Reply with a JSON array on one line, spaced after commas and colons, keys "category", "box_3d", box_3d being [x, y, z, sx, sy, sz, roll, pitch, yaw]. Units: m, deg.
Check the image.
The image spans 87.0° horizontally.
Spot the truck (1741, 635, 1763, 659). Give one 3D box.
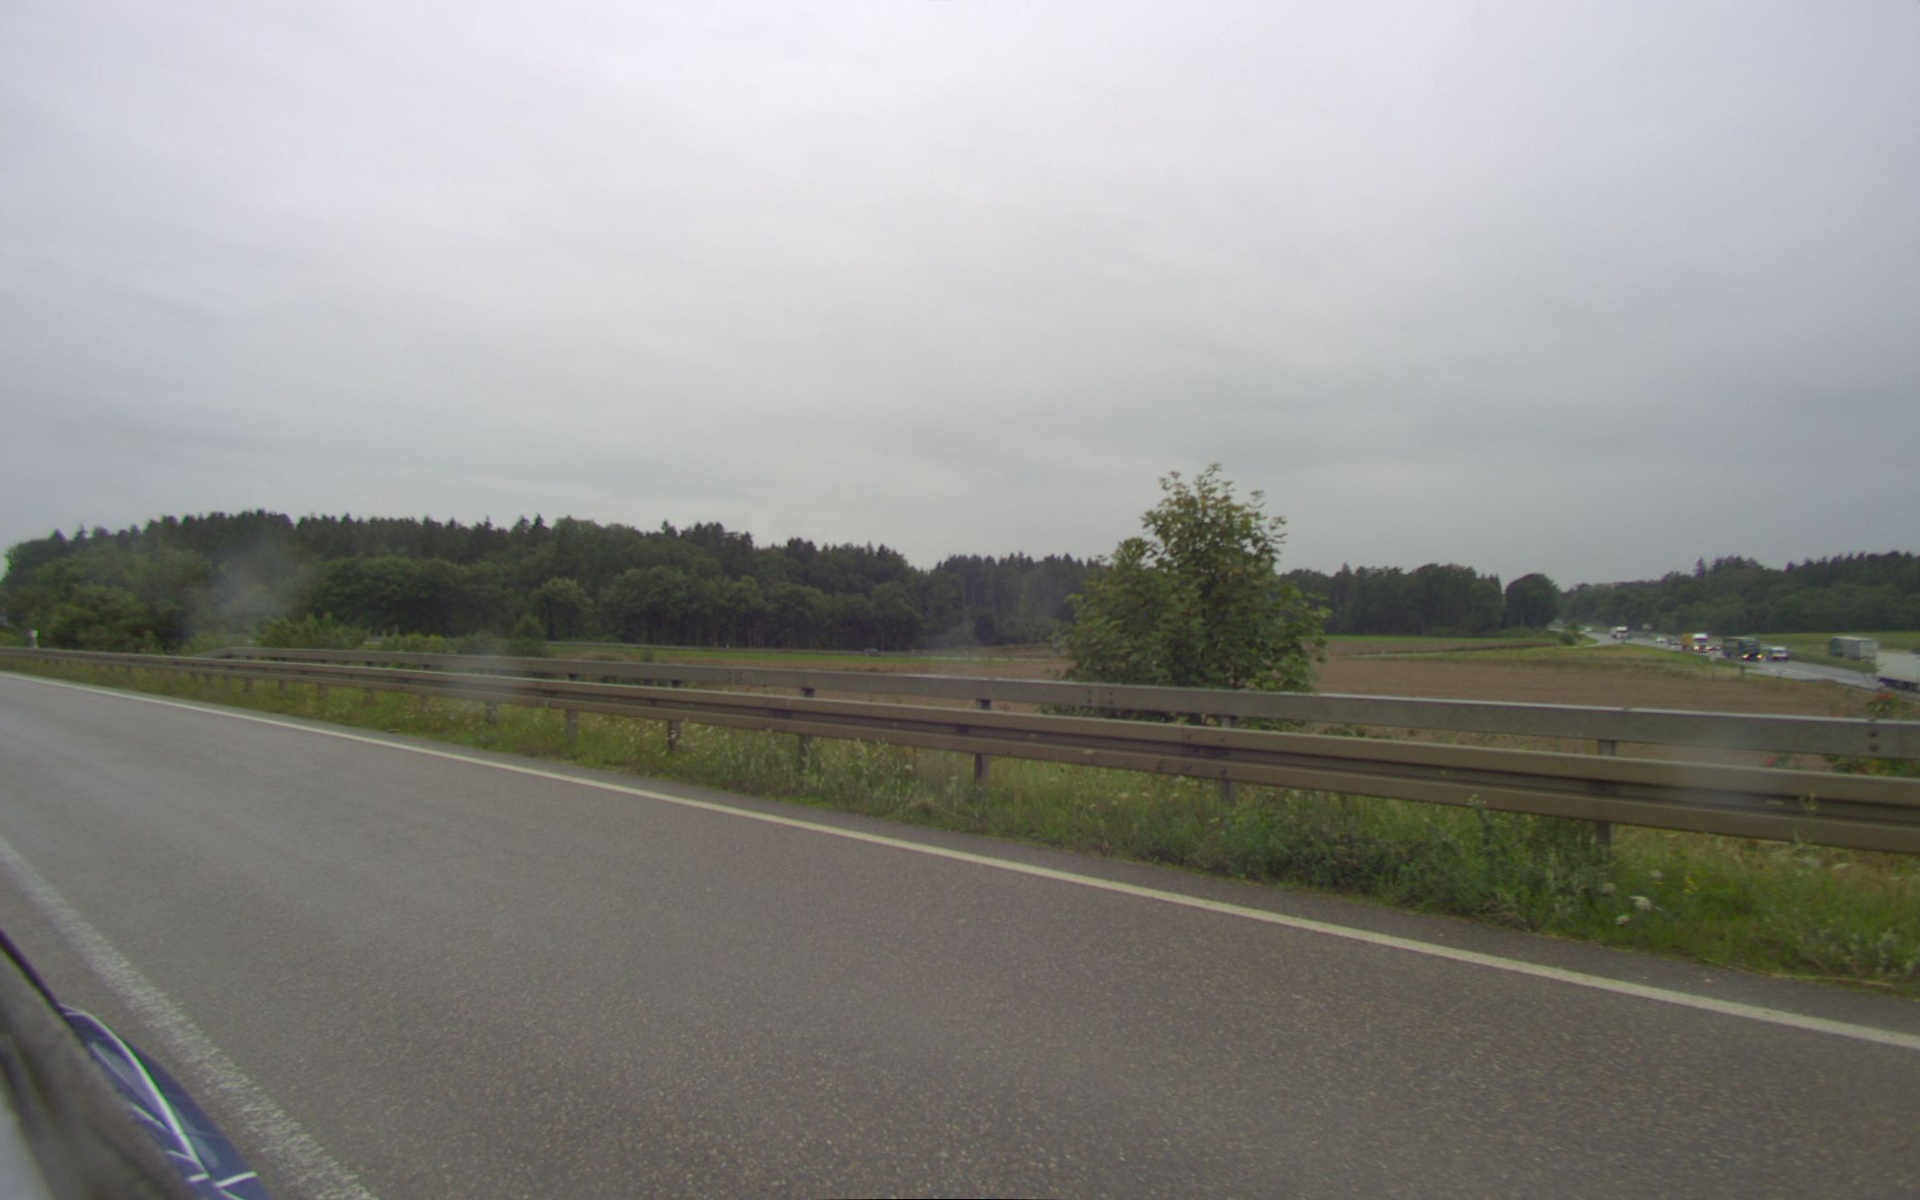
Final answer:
[{"category": "truck", "box_3d": [145.547, 8.608, 185.984, 2.233, 3.727, 9.743, -2, 1, 33]}]

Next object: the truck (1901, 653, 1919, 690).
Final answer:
[{"category": "truck", "box_3d": [108.071, 8.077, 112.270, 2.774, 3.899, 10.540, 0, 0, 28]}]
